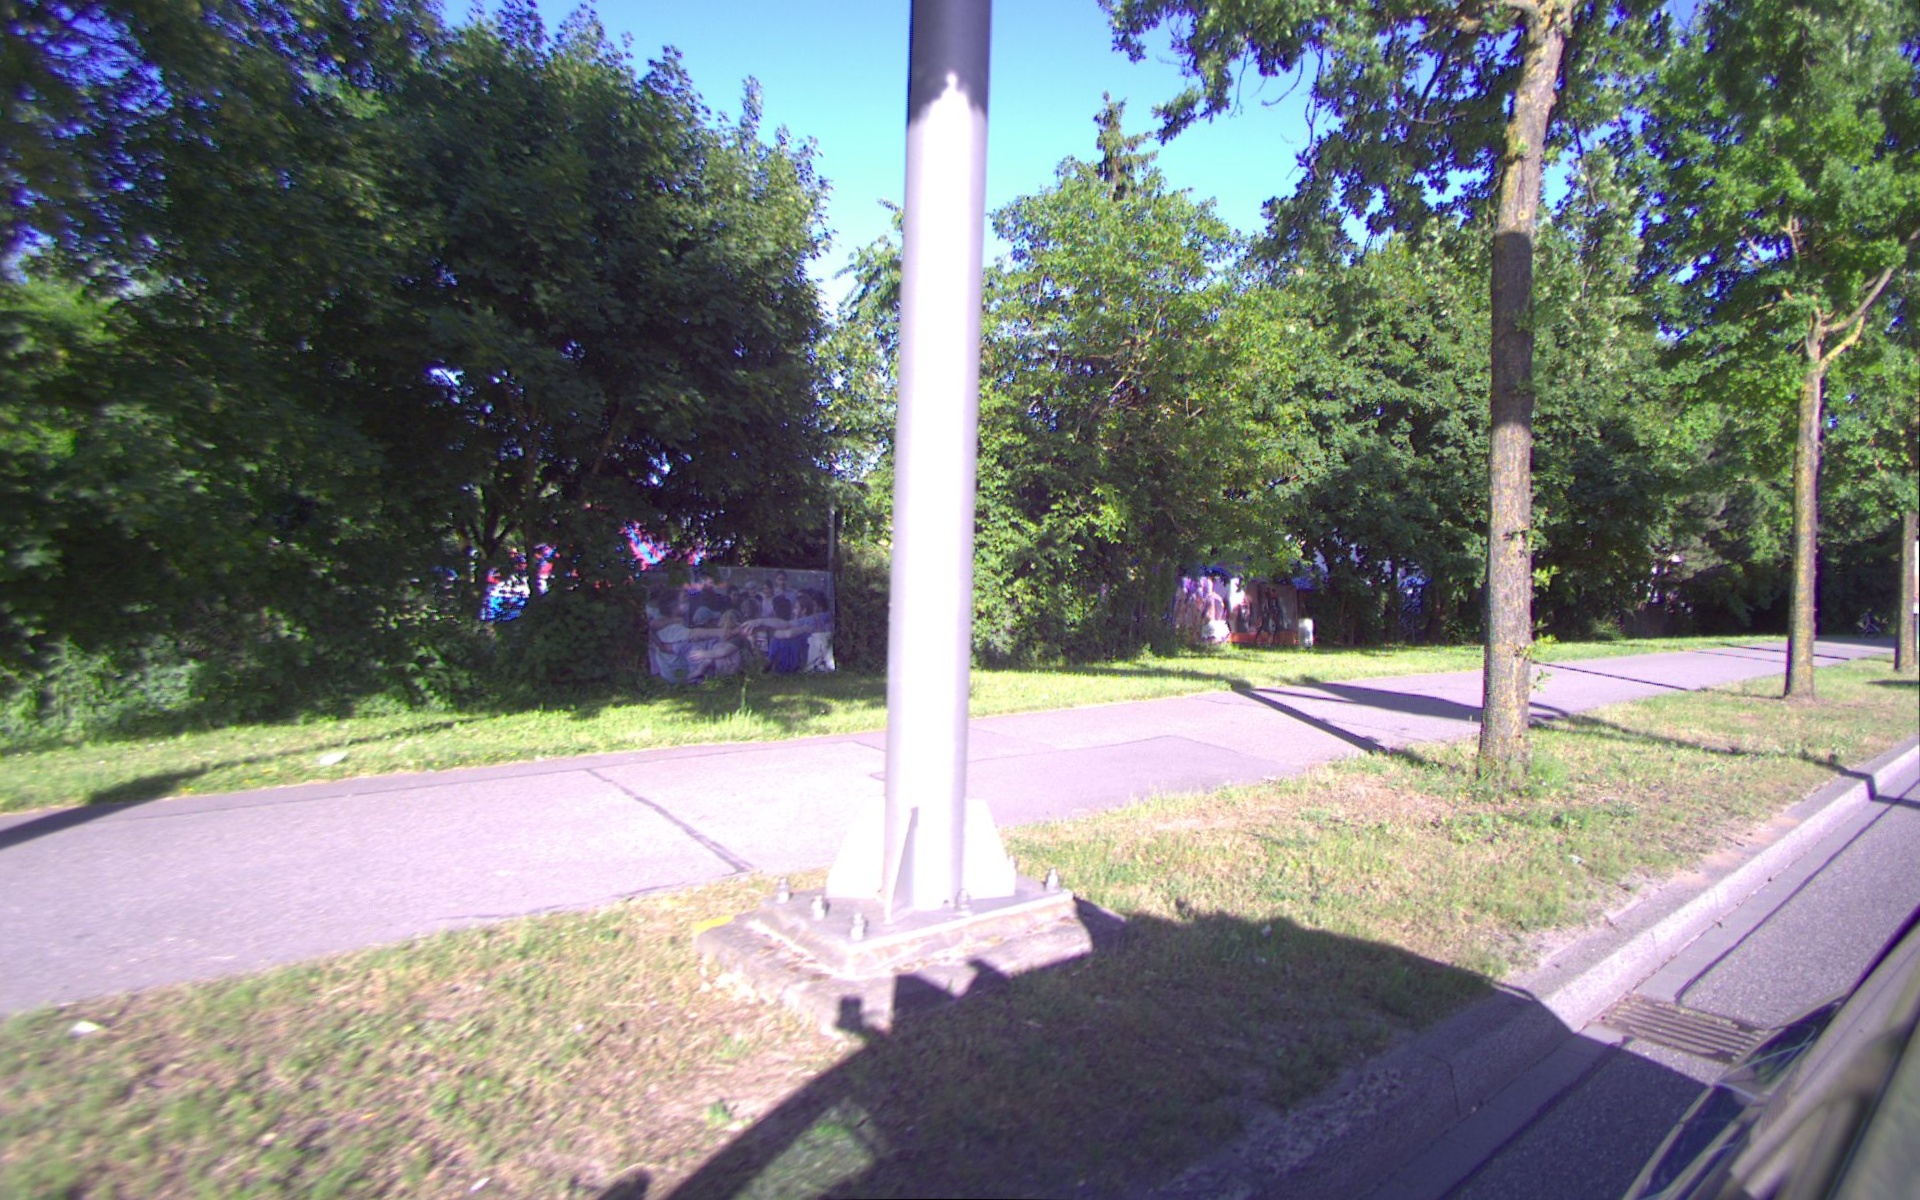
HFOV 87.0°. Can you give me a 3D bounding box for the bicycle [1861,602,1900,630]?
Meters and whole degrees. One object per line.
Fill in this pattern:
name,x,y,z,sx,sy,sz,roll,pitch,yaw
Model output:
bicycle,38.513,0.681,42.334,1.675,1.145,0.777,1,0,-33
